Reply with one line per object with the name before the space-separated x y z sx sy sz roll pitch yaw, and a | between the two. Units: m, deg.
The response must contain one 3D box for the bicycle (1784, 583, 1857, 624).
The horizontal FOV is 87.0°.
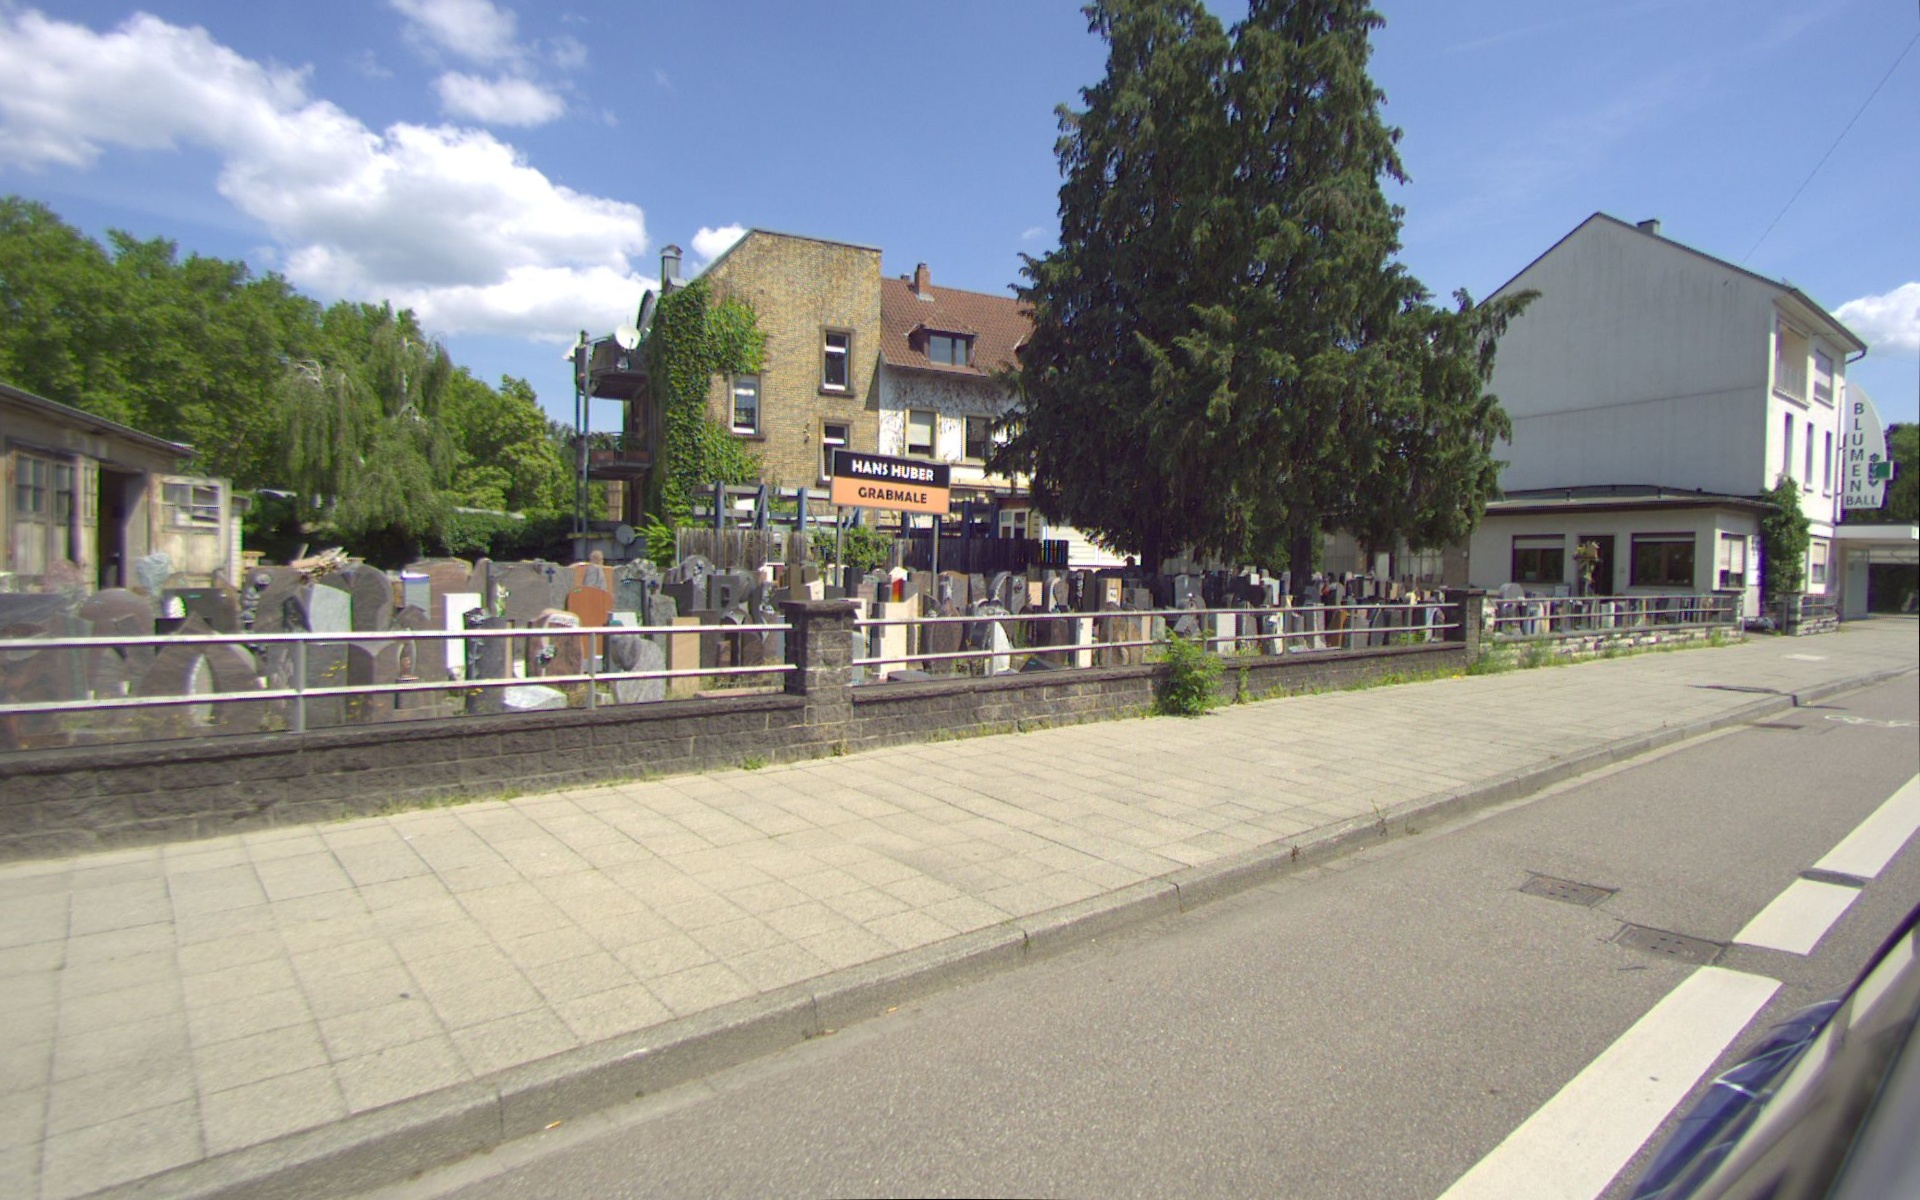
bicycle | 25.692 0.094 30.230 0.421 1.099 1.539 0 4 -32
